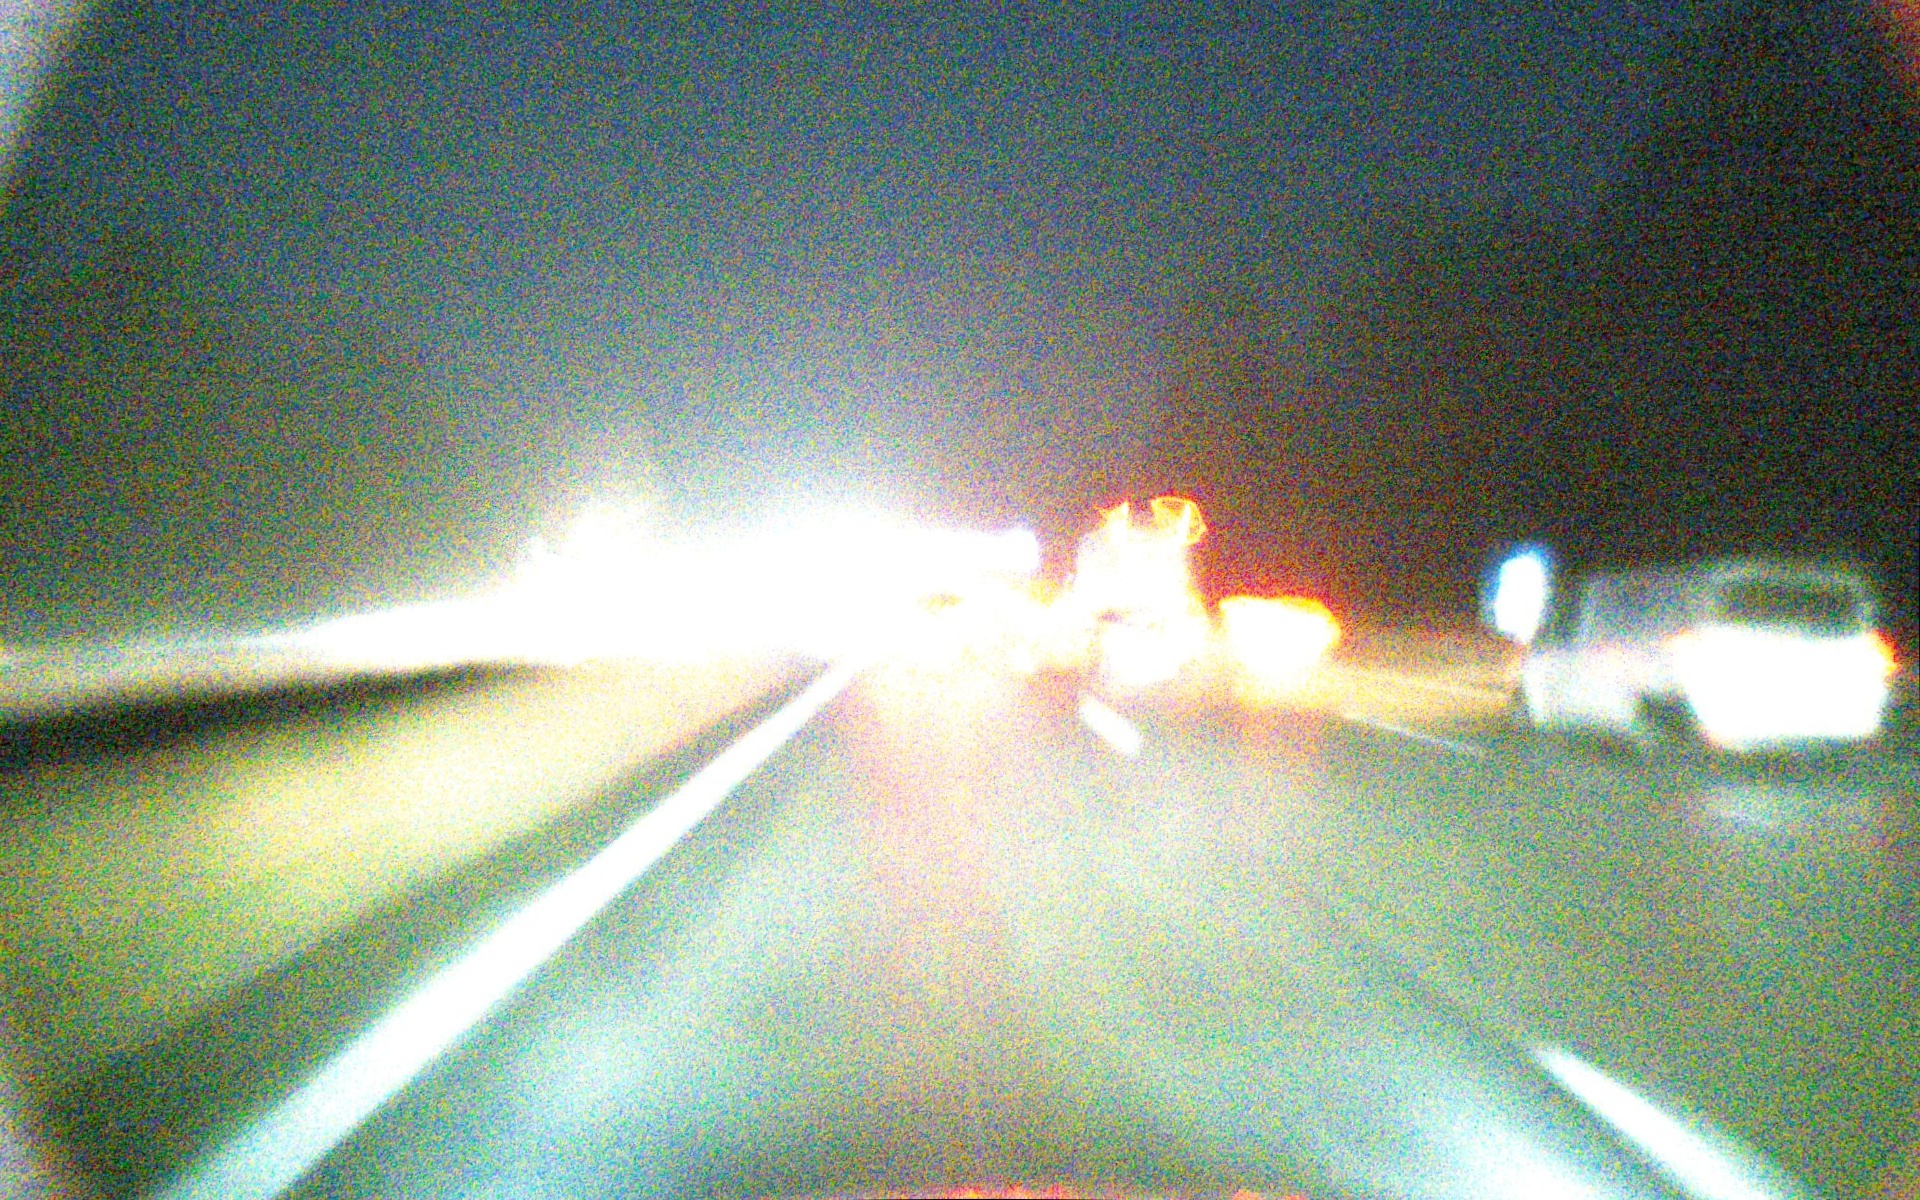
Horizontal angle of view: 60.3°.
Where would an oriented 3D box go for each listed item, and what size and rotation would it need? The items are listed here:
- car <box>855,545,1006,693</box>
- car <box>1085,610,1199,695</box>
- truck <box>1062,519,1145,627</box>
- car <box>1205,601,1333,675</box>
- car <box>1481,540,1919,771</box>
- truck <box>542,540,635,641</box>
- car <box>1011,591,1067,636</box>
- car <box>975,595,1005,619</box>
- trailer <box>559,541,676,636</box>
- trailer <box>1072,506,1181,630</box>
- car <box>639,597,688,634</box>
[{"bbox_3d":[-0.638,0.316,32.871,2.655,2.578,5.828,-2,0,-2],"label":"car"},{"bbox_3d":[3.305,0.927,30.657,1.580,1.437,3.790,1,0,-2],"label":"car"},{"bbox_3d":[6.087,-1.101,71.139,2.747,4.341,7.446,1,0,-1],"label":"truck"},{"bbox_3d":[7.066,0.822,38.324,1.856,1.512,4.960,1,0,-2],"label":"car"},{"bbox_3d":[7.372,0.461,17.264,2.005,2.008,5.405,-1,0,-2],"label":"car"},{"bbox_3d":[-17.014,-0.464,76.154,2.828,4.410,6.745,1,1,-1],"label":"truck"},{"bbox_3d":[2.927,0.494,61.825,1.846,1.616,3.999,1,0,-1],"label":"car"},{"bbox_3d":[2.182,0.517,120.955,2.093,1.646,4.000,1,0,0],"label":"car"},{"bbox_3d":[-17.098,-0.675,83.969,2.828,4.379,15.716,1,1,-1],"label":"trailer"},{"bbox_3d":[6.223,-1.130,63.670,2.747,4.286,12.094,1,0,-1],"label":"trailer"},{"bbox_3d":[-13.959,0.697,77.993,1.644,1.625,4.347,-2,0,-2],"label":"car"}]
